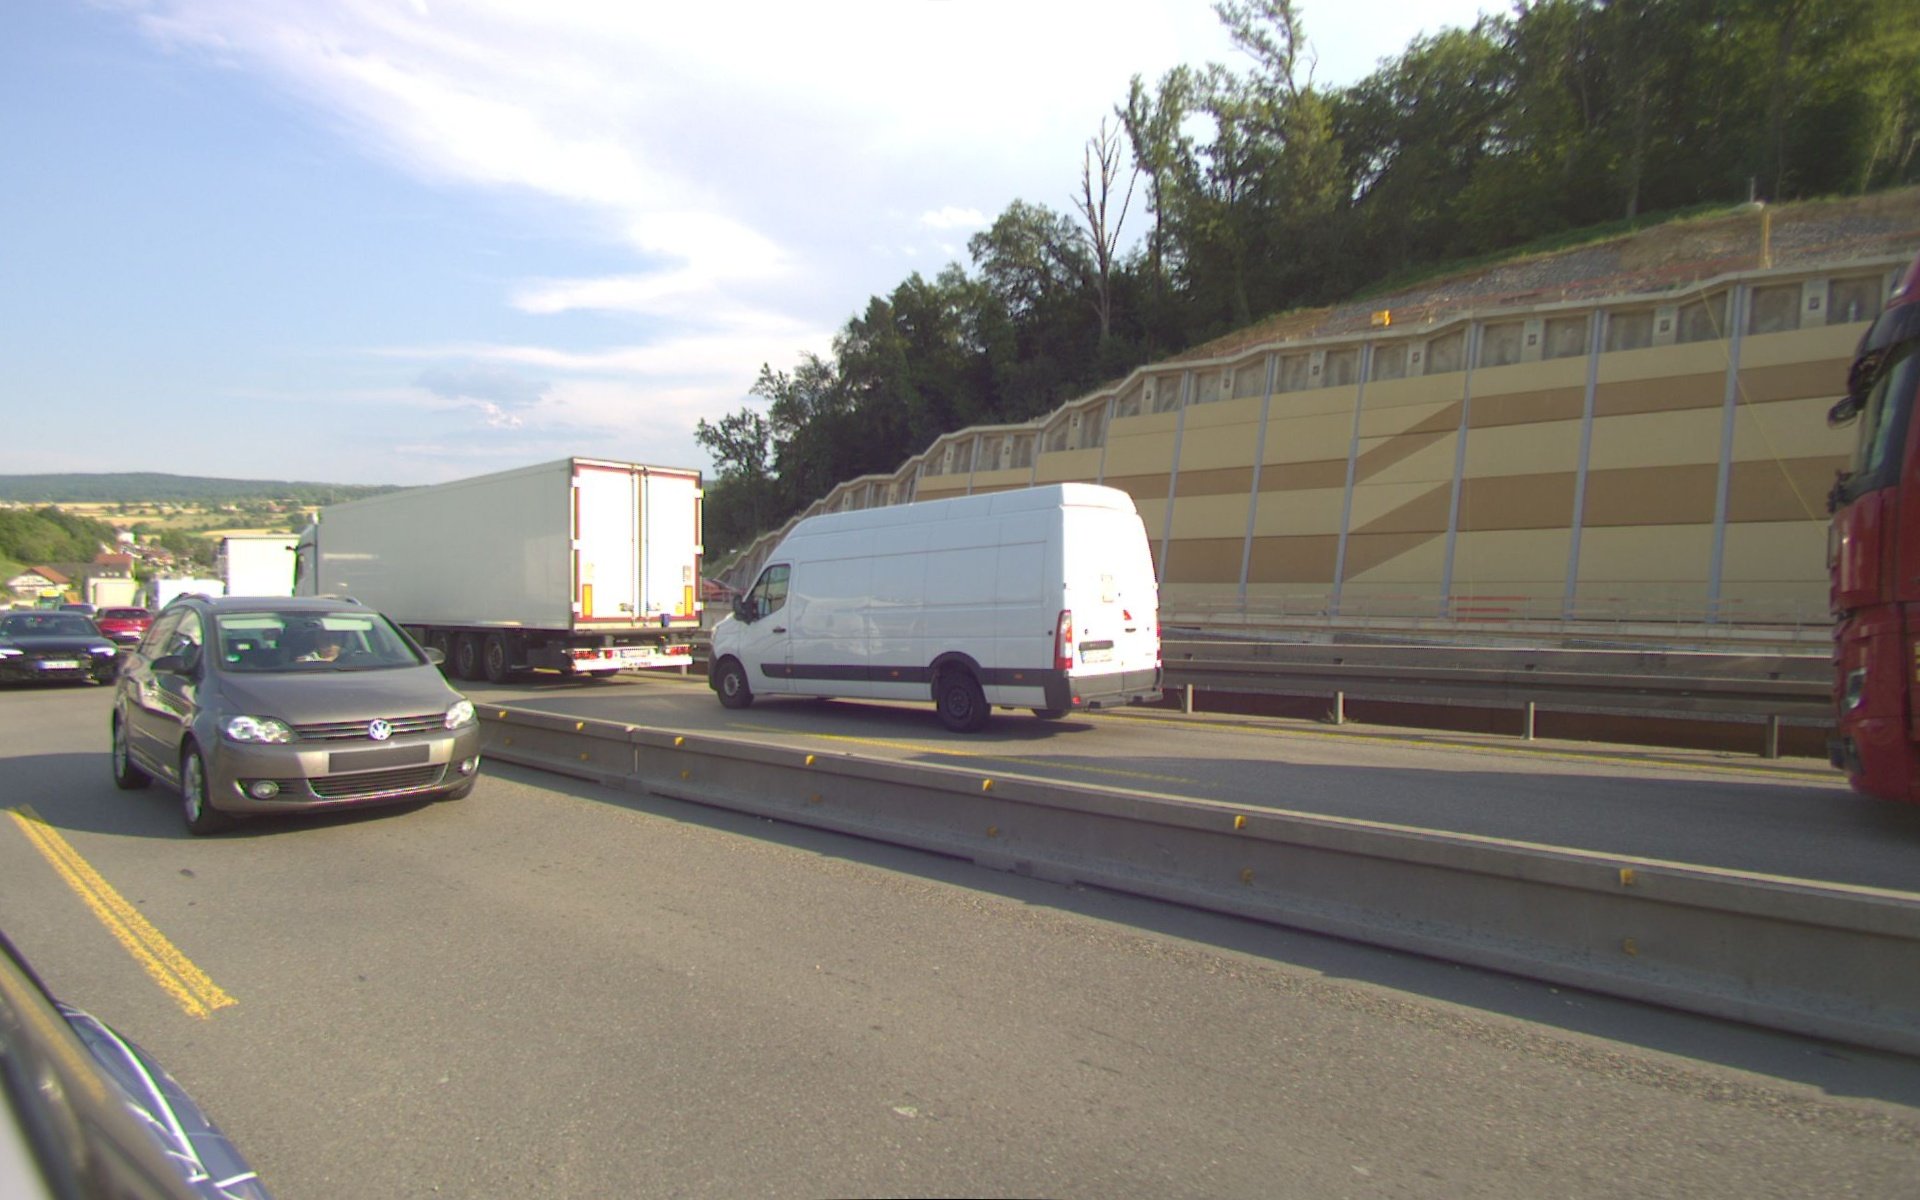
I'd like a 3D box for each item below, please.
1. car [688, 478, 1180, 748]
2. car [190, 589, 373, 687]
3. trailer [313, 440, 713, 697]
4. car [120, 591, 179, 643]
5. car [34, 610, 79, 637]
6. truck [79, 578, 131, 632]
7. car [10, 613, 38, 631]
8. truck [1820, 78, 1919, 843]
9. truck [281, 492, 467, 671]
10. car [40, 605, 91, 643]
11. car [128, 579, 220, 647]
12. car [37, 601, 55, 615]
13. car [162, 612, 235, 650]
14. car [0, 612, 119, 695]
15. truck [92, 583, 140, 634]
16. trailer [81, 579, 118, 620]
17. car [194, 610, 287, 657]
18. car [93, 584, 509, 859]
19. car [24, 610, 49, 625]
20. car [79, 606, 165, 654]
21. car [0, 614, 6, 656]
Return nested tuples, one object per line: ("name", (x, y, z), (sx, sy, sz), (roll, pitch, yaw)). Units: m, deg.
("car", (-0.717, 0.126, 13.238), (6.947, 2.710, 2.000), (0, 1, 42))
("car", (-13.606, 0.710, 20.164), (4.804, 1.600, 1.849), (2, -3, 43))
("trailer", (-10.553, -0.470, 22.303), (13.745, 4.250, 2.692), (-1, -1, 42))
("car", (-42.950, 0.863, 53.578), (1.933, 2.640, 5.754), (1, -1, -43))
("car", (-57.171, 1.528, 63.992), (4.757, 1.591, 1.796), (-2, -4, 45))
("truck", (-71.116, 0.438, 84.054), (2.675, 4.119, 14.169), (1, -1, -43))
("car", (-90.257, 2.157, 97.566), (4.757, 1.591, 1.796), (-2, -4, 45))
("truck", (8.275, -0.807, 5.092), (5.929, 4.332, 2.717), (-1, -1, 40))
("truck", (-15.662, -0.422, 26.907), (5.681, 4.250, 2.684), (-1, -1, 42))
("car", (-44.871, 1.229, 50.724), (1.783, 1.785, 5.458), (0, -2, -43))
("car", (-36.775, 0.597, 47.239), (7.635, 2.940, 2.308), (0, -1, 44))
("car", (-142.762, 1.319, 158.045), (4.757, 2.015, 1.796), (-2, -4, 45))
("car", (-30.993, 1.220, 41.137), (4.612, 1.433, 1.729), (0, 0, 45))
("car", (-17.788, 0.964, 19.551), (4.000, 1.409, 1.842), (0, -1, 43))
("truck", (-61.242, 0.637, 73.366), (2.418, 3.489, 7.626), (0, -1, -42))
("trailer", (-91.550, 0.001, 107.642), (2.822, 4.066, 13.992), (1, -1, -41))
("car", (-24.372, 1.091, 34.221), (4.714, 1.471, 1.724), (-1, -1, 44))
("car", (-5.249, 0.711, 7.829), (4.098, 1.586, 1.666), (-1, 0, 41))
("car", (-101.779, 1.941, 111.544), (4.757, 1.591, 1.796), (-2, -4, 45))
("car", (-30.440, 1.079, 36.703), (4.456, 1.580, 1.867), (-2, 0, 43))
("car", (-34.246, 1.226, 35.042), (1.674, 1.409, 4.004), (-2, 0, -42))
